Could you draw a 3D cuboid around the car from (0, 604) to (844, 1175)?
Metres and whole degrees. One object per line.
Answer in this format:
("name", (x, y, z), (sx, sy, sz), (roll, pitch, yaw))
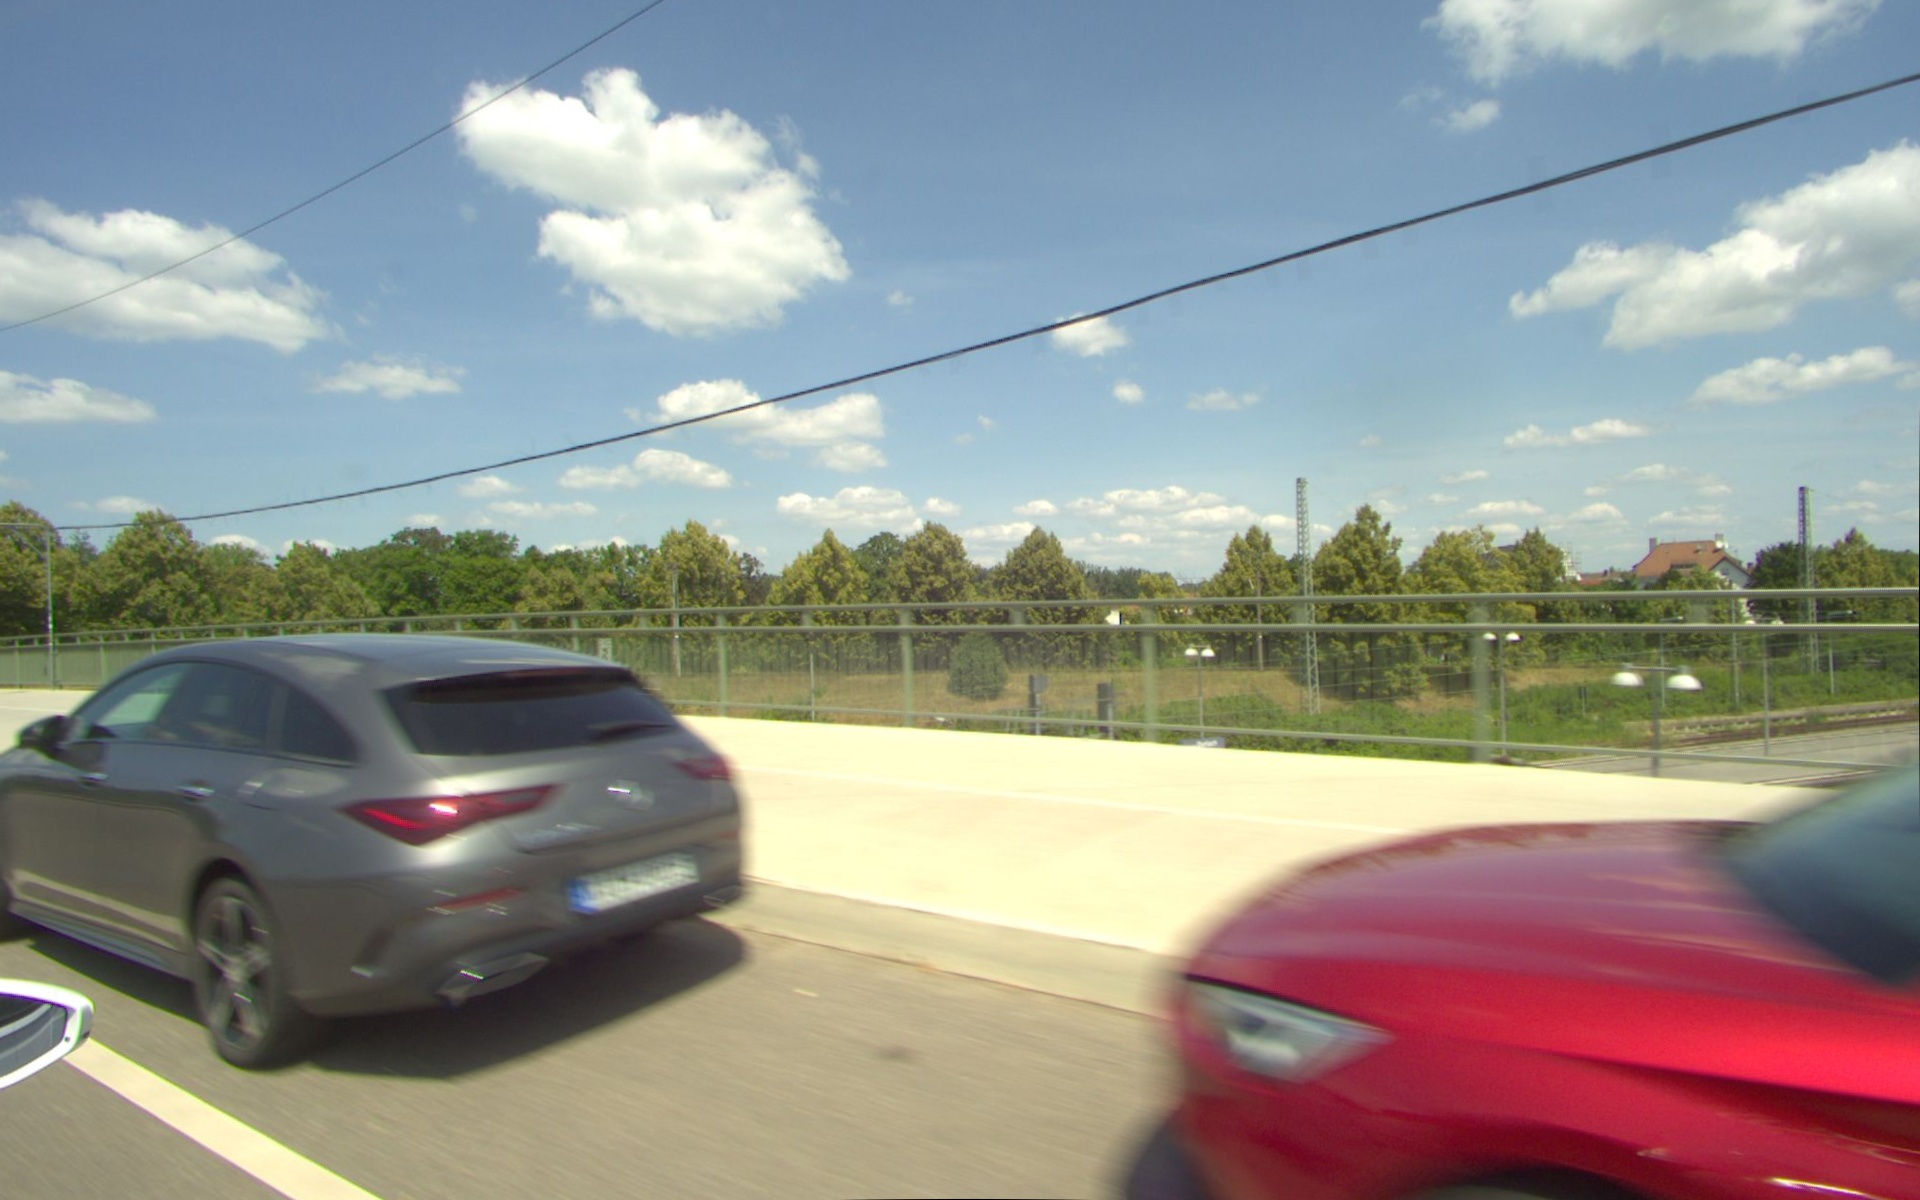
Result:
("car", (-3.018, 0.834, 4.822), (4.651, 1.572, 1.991), (0, -1, 31))

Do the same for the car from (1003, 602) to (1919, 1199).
("car", (2.298, 0.756, 1.503), (4.223, 1.479, 1.644), (-1, -1, 32))
